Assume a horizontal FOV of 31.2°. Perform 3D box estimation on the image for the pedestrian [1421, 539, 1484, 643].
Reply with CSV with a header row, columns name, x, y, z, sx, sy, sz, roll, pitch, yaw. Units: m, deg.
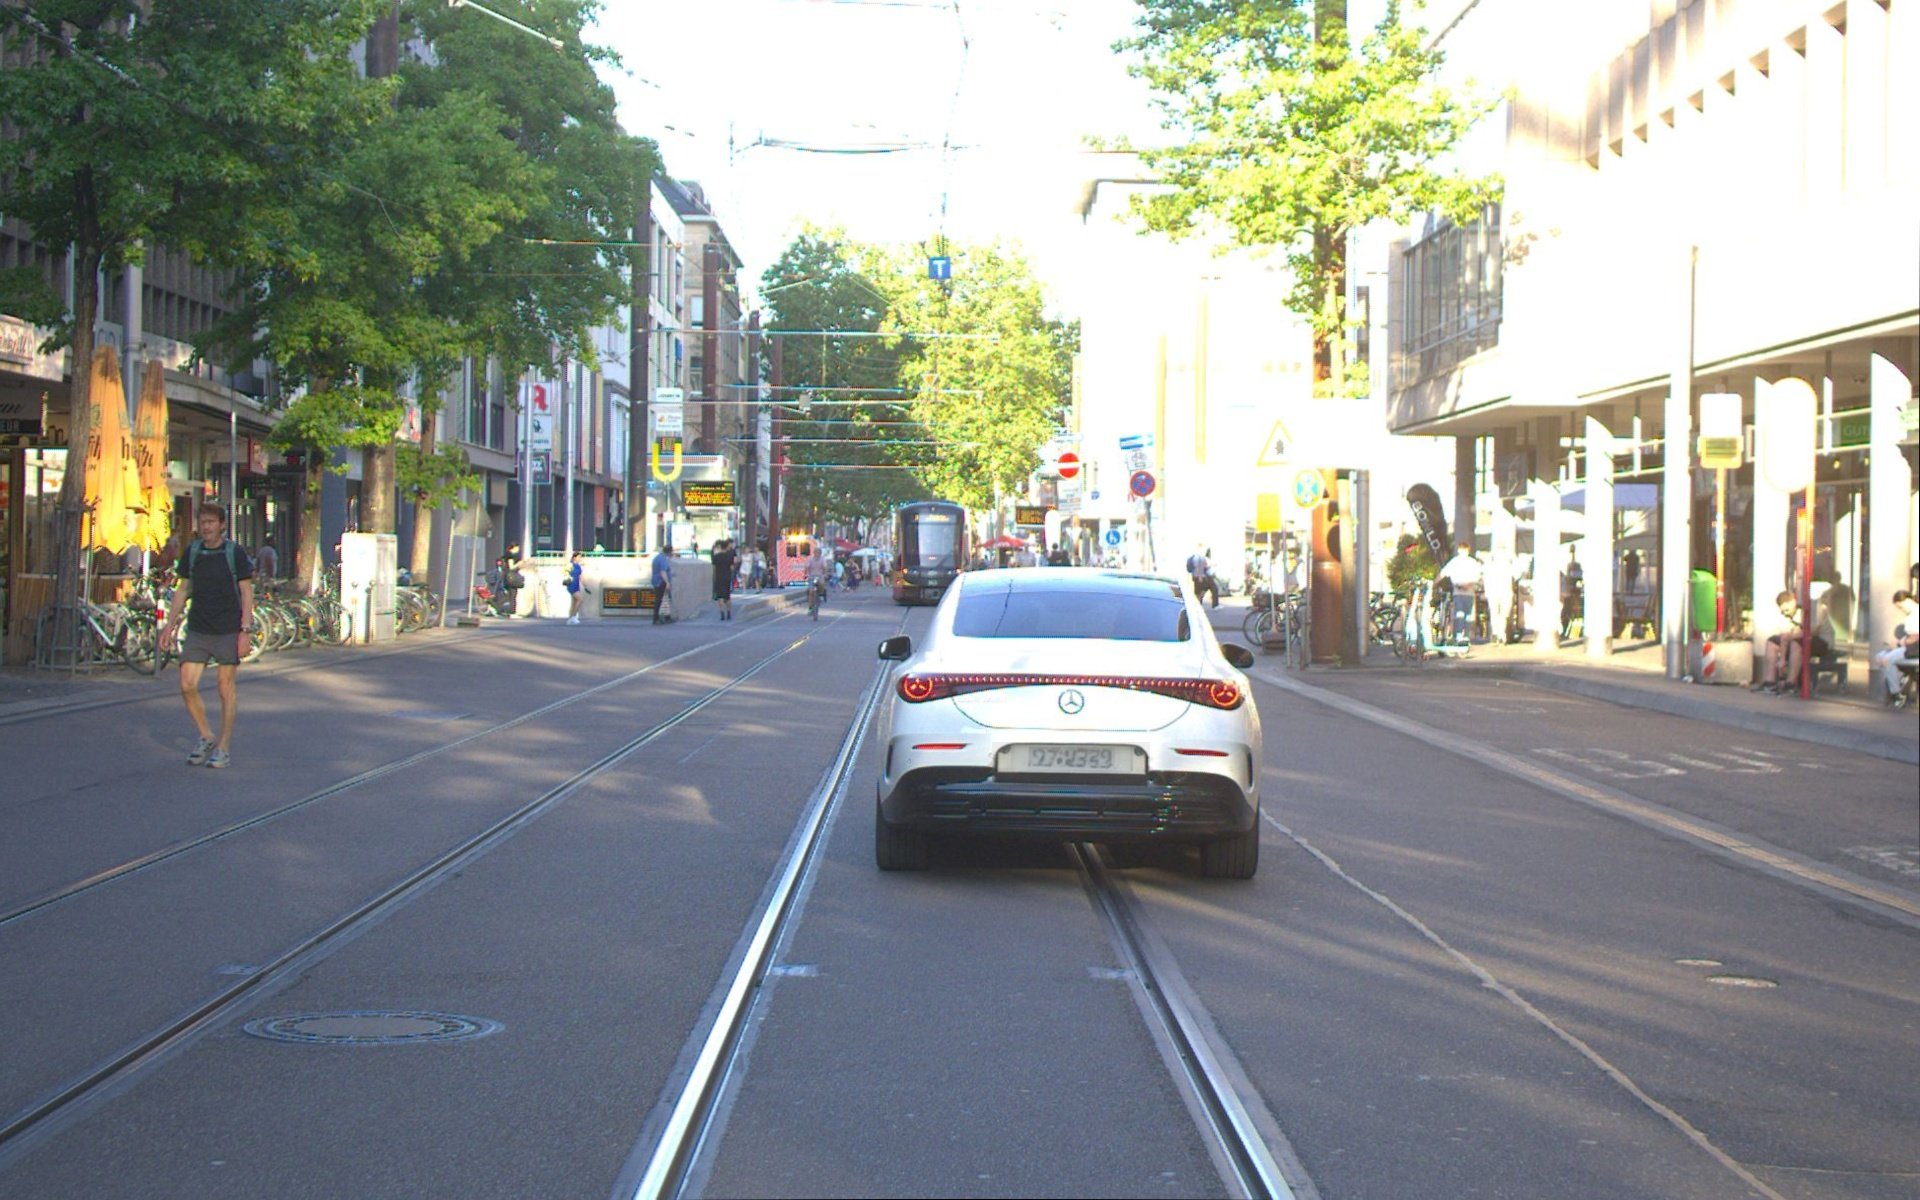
name,x,y,z,sx,sy,sz,roll,pitch,yaw
pedestrian,8.492,-0.158,59.256,0.899,1.739,0.690,-3,1,-1

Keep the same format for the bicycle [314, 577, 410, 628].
name,x,y,z,sx,sy,sz,roll,pitch,yaw
bicycle,-9.811,0.034,56.441,1.492,0.780,0.344,2,1,1

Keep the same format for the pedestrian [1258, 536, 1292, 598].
name,x,y,z,sx,sy,sz,roll,pitch,yaw
pedestrian,8.663,-0.897,94.492,0.817,1.679,0.804,-1,1,-1

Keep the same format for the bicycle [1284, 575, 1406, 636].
name,x,y,z,sx,sy,sz,roll,pitch,yaw
bicycle,6.955,0.103,62.110,2.113,1.092,0.610,0,0,-11

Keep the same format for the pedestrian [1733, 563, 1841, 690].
name,x,y,z,sx,sy,sz,roll,pitch,yaw
pedestrian,9.123,0.289,37.944,0.833,1.372,0.778,1,1,-23

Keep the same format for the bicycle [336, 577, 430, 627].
name,x,y,z,sx,sy,sz,roll,pitch,yaw
bicycle,-9.678,0.027,57.655,1.492,0.780,0.344,2,1,1

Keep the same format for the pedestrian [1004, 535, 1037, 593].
name,x,y,z,sx,sy,sz,roll,pitch,yaw
pedestrian,1.868,-1.105,106.261,0.960,1.779,0.804,-1,1,-1

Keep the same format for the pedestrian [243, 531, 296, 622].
name,x,y,z,sx,sy,sz,roll,pitch,yaw
pedestrian,-13.379,-0.463,66.623,0.723,1.755,0.818,0,1,-35

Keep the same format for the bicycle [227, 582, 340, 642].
name,x,y,z,sx,sy,sz,roll,pitch,yaw
bicycle,-9.537,0.168,48.489,1.492,0.780,0.344,2,1,1

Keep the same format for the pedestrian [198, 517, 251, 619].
name,x,y,z,sx,sy,sz,roll,pitch,yaw
pedestrian,-12.738,-0.560,59.548,0.785,1.760,0.537,0,1,-25

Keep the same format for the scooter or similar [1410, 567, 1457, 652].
name,x,y,z,sx,sy,sz,roll,pitch,yaw
scooter or similar,7.157,0.142,51.997,0.491,1.273,0.660,-1,1,-11

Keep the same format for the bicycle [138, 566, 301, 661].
name,x,y,z,sx,sy,sz,roll,pitch,yaw
bicycle,-8.928,0.161,41.480,1.846,1.073,0.377,2,1,-4

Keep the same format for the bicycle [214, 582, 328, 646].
name,x,y,z,sx,sy,sz,roll,pitch,yaw
bicycle,-9.565,0.191,47.759,1.492,0.838,0.344,2,1,1

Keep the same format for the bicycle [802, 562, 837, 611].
name,x,y,z,sx,sy,sz,roll,pitch,yaw
bicycle,-3.443,-0.346,84.288,0.800,1.138,2.257,2,1,-2

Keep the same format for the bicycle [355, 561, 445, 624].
name,x,y,z,sx,sy,sz,roll,pitch,yaw
bicycle,-9.653,-0.134,59.288,1.492,1.025,0.345,2,1,-10

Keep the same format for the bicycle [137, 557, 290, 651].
name,x,y,z,sx,sy,sz,roll,pitch,yaw
bicycle,-9.566,0.050,44.054,1.846,1.137,0.377,2,1,1

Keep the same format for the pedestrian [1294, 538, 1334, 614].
name,x,y,z,sx,sy,sz,roll,pitch,yaw
pedestrian,8.495,-0.581,82.462,0.840,1.779,0.804,-1,1,-1

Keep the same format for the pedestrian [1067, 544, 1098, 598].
name,x,y,z,sx,sy,sz,roll,pitch,yaw
pedestrian,4.079,-0.963,114.495,0.960,1.779,0.804,-1,1,-1

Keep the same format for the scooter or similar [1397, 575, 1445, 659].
name,x,y,z,sx,sy,sz,roll,pitch,yaw
scooter or similar,7.055,0.257,52.653,0.527,1.273,0.660,-1,1,-11

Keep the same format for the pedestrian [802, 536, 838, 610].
name,x,y,z,sx,sy,sz,roll,pitch,yaw
pedestrian,-3.431,-0.671,84.326,0.800,1.776,0.849,2,1,-1

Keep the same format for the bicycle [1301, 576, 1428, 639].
name,x,y,z,sx,sy,sz,roll,pitch,yaw
bicycle,7.042,0.131,59.911,2.113,1.092,0.610,0,0,-13

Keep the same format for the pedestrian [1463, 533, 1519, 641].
name,x,y,z,sx,sy,sz,roll,pitch,yaw
pedestrian,9.102,-0.224,58.961,0.701,1.806,1.033,-3,1,-1

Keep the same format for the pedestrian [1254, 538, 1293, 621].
name,x,y,z,sx,sy,sz,roll,pitch,yaw
pedestrian,6.818,-0.453,74.838,0.748,1.779,0.767,-1,1,-1

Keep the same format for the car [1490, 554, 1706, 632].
name,x,y,z,sx,sy,sz,roll,pitch,yaw
car,12.363,-0.137,66.759,3.801,1.468,1.649,0,1,-5

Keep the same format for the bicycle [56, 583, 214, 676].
name,x,y,z,sx,sy,sz,roll,pitch,yaw
bicycle,-8.893,0.315,37.050,1.596,0.927,0.377,2,1,7

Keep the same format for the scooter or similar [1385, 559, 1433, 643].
name,x,y,z,sx,sy,sz,roll,pitch,yaw
scooter or similar,6.952,0.014,53.215,0.527,1.273,0.660,-1,1,-11

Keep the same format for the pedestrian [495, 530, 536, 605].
name,x,y,z,sx,sy,sz,roll,pitch,yaw
pedestrian,-10.207,-0.745,78.991,0.837,1.711,0.785,1,1,-2

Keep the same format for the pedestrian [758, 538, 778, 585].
name,x,y,z,sx,sy,sz,roll,pitch,yaw
pedestrian,-6.549,-1.325,117.457,0.660,1.593,0.573,1,1,-1

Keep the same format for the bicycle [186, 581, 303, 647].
name,x,y,z,sx,sy,sz,roll,pitch,yaw
bicycle,-9.733,0.186,46.755,1.492,0.838,0.344,2,1,1

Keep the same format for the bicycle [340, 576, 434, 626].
name,x,y,z,sx,sy,sz,roll,pitch,yaw
bicycle,-9.651,0.018,57.892,1.492,0.780,0.344,2,1,1

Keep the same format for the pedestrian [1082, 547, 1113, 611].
name,x,y,z,sx,sy,sz,roll,pitch,yaw
pedestrian,3.666,-0.574,91.800,0.746,1.693,0.840,1,1,-3

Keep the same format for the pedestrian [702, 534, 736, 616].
name,x,y,z,sx,sy,sz,roll,pitch,yaw
pedestrian,-5.711,-0.599,81.581,0.540,1.922,0.571,1,1,44

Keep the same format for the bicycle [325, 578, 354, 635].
name,x,y,z,sx,sy,sz,roll,pitch,yaw
bicycle,-9.052,0.091,50.176,0.343,0.780,1.405,2,1,-8

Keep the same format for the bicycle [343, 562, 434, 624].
name,x,y,z,sx,sy,sz,roll,pitch,yaw
bicycle,-9.783,-0.126,58.849,1.492,1.006,0.345,2,1,-10

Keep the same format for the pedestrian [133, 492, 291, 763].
name,x,y,z,sx,sy,sz,roll,pitch,yaw
pedestrian,-5.141,0.181,23.665,0.841,1.795,0.790,2,1,1

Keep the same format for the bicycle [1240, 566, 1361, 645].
name,x,y,z,sx,sy,sz,roll,pitch,yaw
bicycle,5.705,0.087,57.595,1.907,1.277,0.610,-1,1,-11

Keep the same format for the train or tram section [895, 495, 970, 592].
name,x,y,z,sx,sy,sz,roll,pitch,yaw
train or tram section,-1.052,-2.148,130.688,2.694,3.504,12.546,0,1,0

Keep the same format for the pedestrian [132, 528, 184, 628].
name,x,y,z,sx,sy,sz,roll,pitch,yaw
pedestrian,-12.528,-0.349,53.729,0.714,1.542,0.685,0,1,-6

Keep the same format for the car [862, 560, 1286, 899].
name,x,y,z,sx,sy,sz,roll,pitch,yaw
car,0.490,0.556,17.471,1.857,1.450,4.175,2,1,-1

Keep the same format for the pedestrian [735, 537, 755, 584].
name,x,y,z,sx,sy,sz,roll,pitch,yaw
pedestrian,-7.348,-1.337,117.378,0.660,1.593,0.573,1,1,-1

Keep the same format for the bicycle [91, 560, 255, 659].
name,x,y,z,sx,sy,sz,roll,pitch,yaw
bicycle,-9.107,0.105,39.810,1.788,1.073,0.377,2,1,-4

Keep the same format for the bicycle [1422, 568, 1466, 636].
name,x,y,z,sx,sy,sz,roll,pitch,yaw
bicycle,8.338,0.026,59.236,0.564,1.124,1.929,-1,1,3

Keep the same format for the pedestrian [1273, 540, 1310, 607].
name,x,y,z,sx,sy,sz,roll,pitch,yaw
pedestrian,8.229,-0.661,85.354,0.838,1.656,0.785,1,1,2

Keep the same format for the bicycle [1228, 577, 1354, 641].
name,x,y,z,sx,sy,sz,roll,pitch,yaw
bicycle,5.827,0.155,60.561,2.113,1.092,0.610,1,0,-11

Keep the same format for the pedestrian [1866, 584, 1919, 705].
name,x,y,z,sx,sy,sz,roll,pitch,yaw
pedestrian,9.546,0.445,34.599,0.666,1.194,0.784,1,1,5

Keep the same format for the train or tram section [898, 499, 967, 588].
name,x,y,z,sx,sy,sz,roll,pitch,yaw
train or tram section,-1.131,-2.327,142.529,2.694,3.504,11.144,0,1,0

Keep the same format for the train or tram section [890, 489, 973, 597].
name,x,y,z,sx,sy,sz,roll,pitch,yaw
train or tram section,-0.976,-1.954,118.136,2.694,3.504,12.546,0,1,0

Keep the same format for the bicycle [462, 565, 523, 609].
name,x,y,z,sx,sy,sz,roll,pitch,yaw
bicycle,-10.936,-0.303,80.485,0.719,1.006,2.038,1,1,13

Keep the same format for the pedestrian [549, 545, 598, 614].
name,x,y,z,sx,sy,sz,roll,pitch,yaw
pedestrian,-8.453,-0.453,75.181,0.955,1.491,0.944,1,1,0

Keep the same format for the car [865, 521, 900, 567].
name,x,y,z,sx,sy,sz,roll,pitch,yaw
car,-4.948,-3.586,219.427,2.099,2.887,5.275,0,1,0

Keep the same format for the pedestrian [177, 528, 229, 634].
name,x,y,z,sx,sy,sz,roll,pitch,yaw
pedestrian,-11.833,-0.296,53.732,0.714,1.634,0.685,0,1,-6

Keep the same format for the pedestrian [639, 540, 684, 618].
name,x,y,z,sx,sy,sz,roll,pitch,yaw
pedestrian,-6.534,-0.470,75.348,0.905,1.693,0.849,1,1,0

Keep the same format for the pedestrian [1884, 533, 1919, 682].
name,x,y,z,sx,sy,sz,roll,pitch,yaw
pedestrian,11.355,0.083,40.461,0.715,1.735,0.835,1,1,0

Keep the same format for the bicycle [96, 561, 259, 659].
name,x,y,z,sx,sy,sz,roll,pitch,yaw
bicycle,-9.158,0.116,40.265,1.788,1.073,0.377,2,1,-4

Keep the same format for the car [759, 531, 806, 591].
name,x,y,z,sx,sy,sz,roll,pitch,yaw
car,-8.681,-1.924,168.612,1.993,2.887,5.275,0,1,0

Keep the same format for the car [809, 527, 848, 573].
name,x,y,z,sx,sy,sz,roll,pitch,yaw
car,-7.140,-2.735,187.389,1.910,2.452,5.275,0,1,0

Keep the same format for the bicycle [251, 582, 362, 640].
name,x,y,z,sx,sy,sz,roll,pitch,yaw
bicycle,-9.345,0.155,49.182,1.492,0.780,0.344,2,1,1

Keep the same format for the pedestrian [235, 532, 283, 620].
name,x,y,z,sx,sy,sz,roll,pitch,yaw
pedestrian,-14.119,-0.484,69.232,0.816,1.755,0.780,1,1,-2

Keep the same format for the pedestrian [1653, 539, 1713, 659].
name,x,y,z,sx,sy,sz,roll,pitch,yaw
pedestrian,10.007,-0.021,47.598,0.637,1.647,0.781,1,1,1

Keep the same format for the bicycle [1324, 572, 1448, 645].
name,x,y,z,sx,sy,sz,roll,pitch,yaw
bicycle,7.040,0.134,56.819,1.907,1.152,0.610,-1,1,-11
